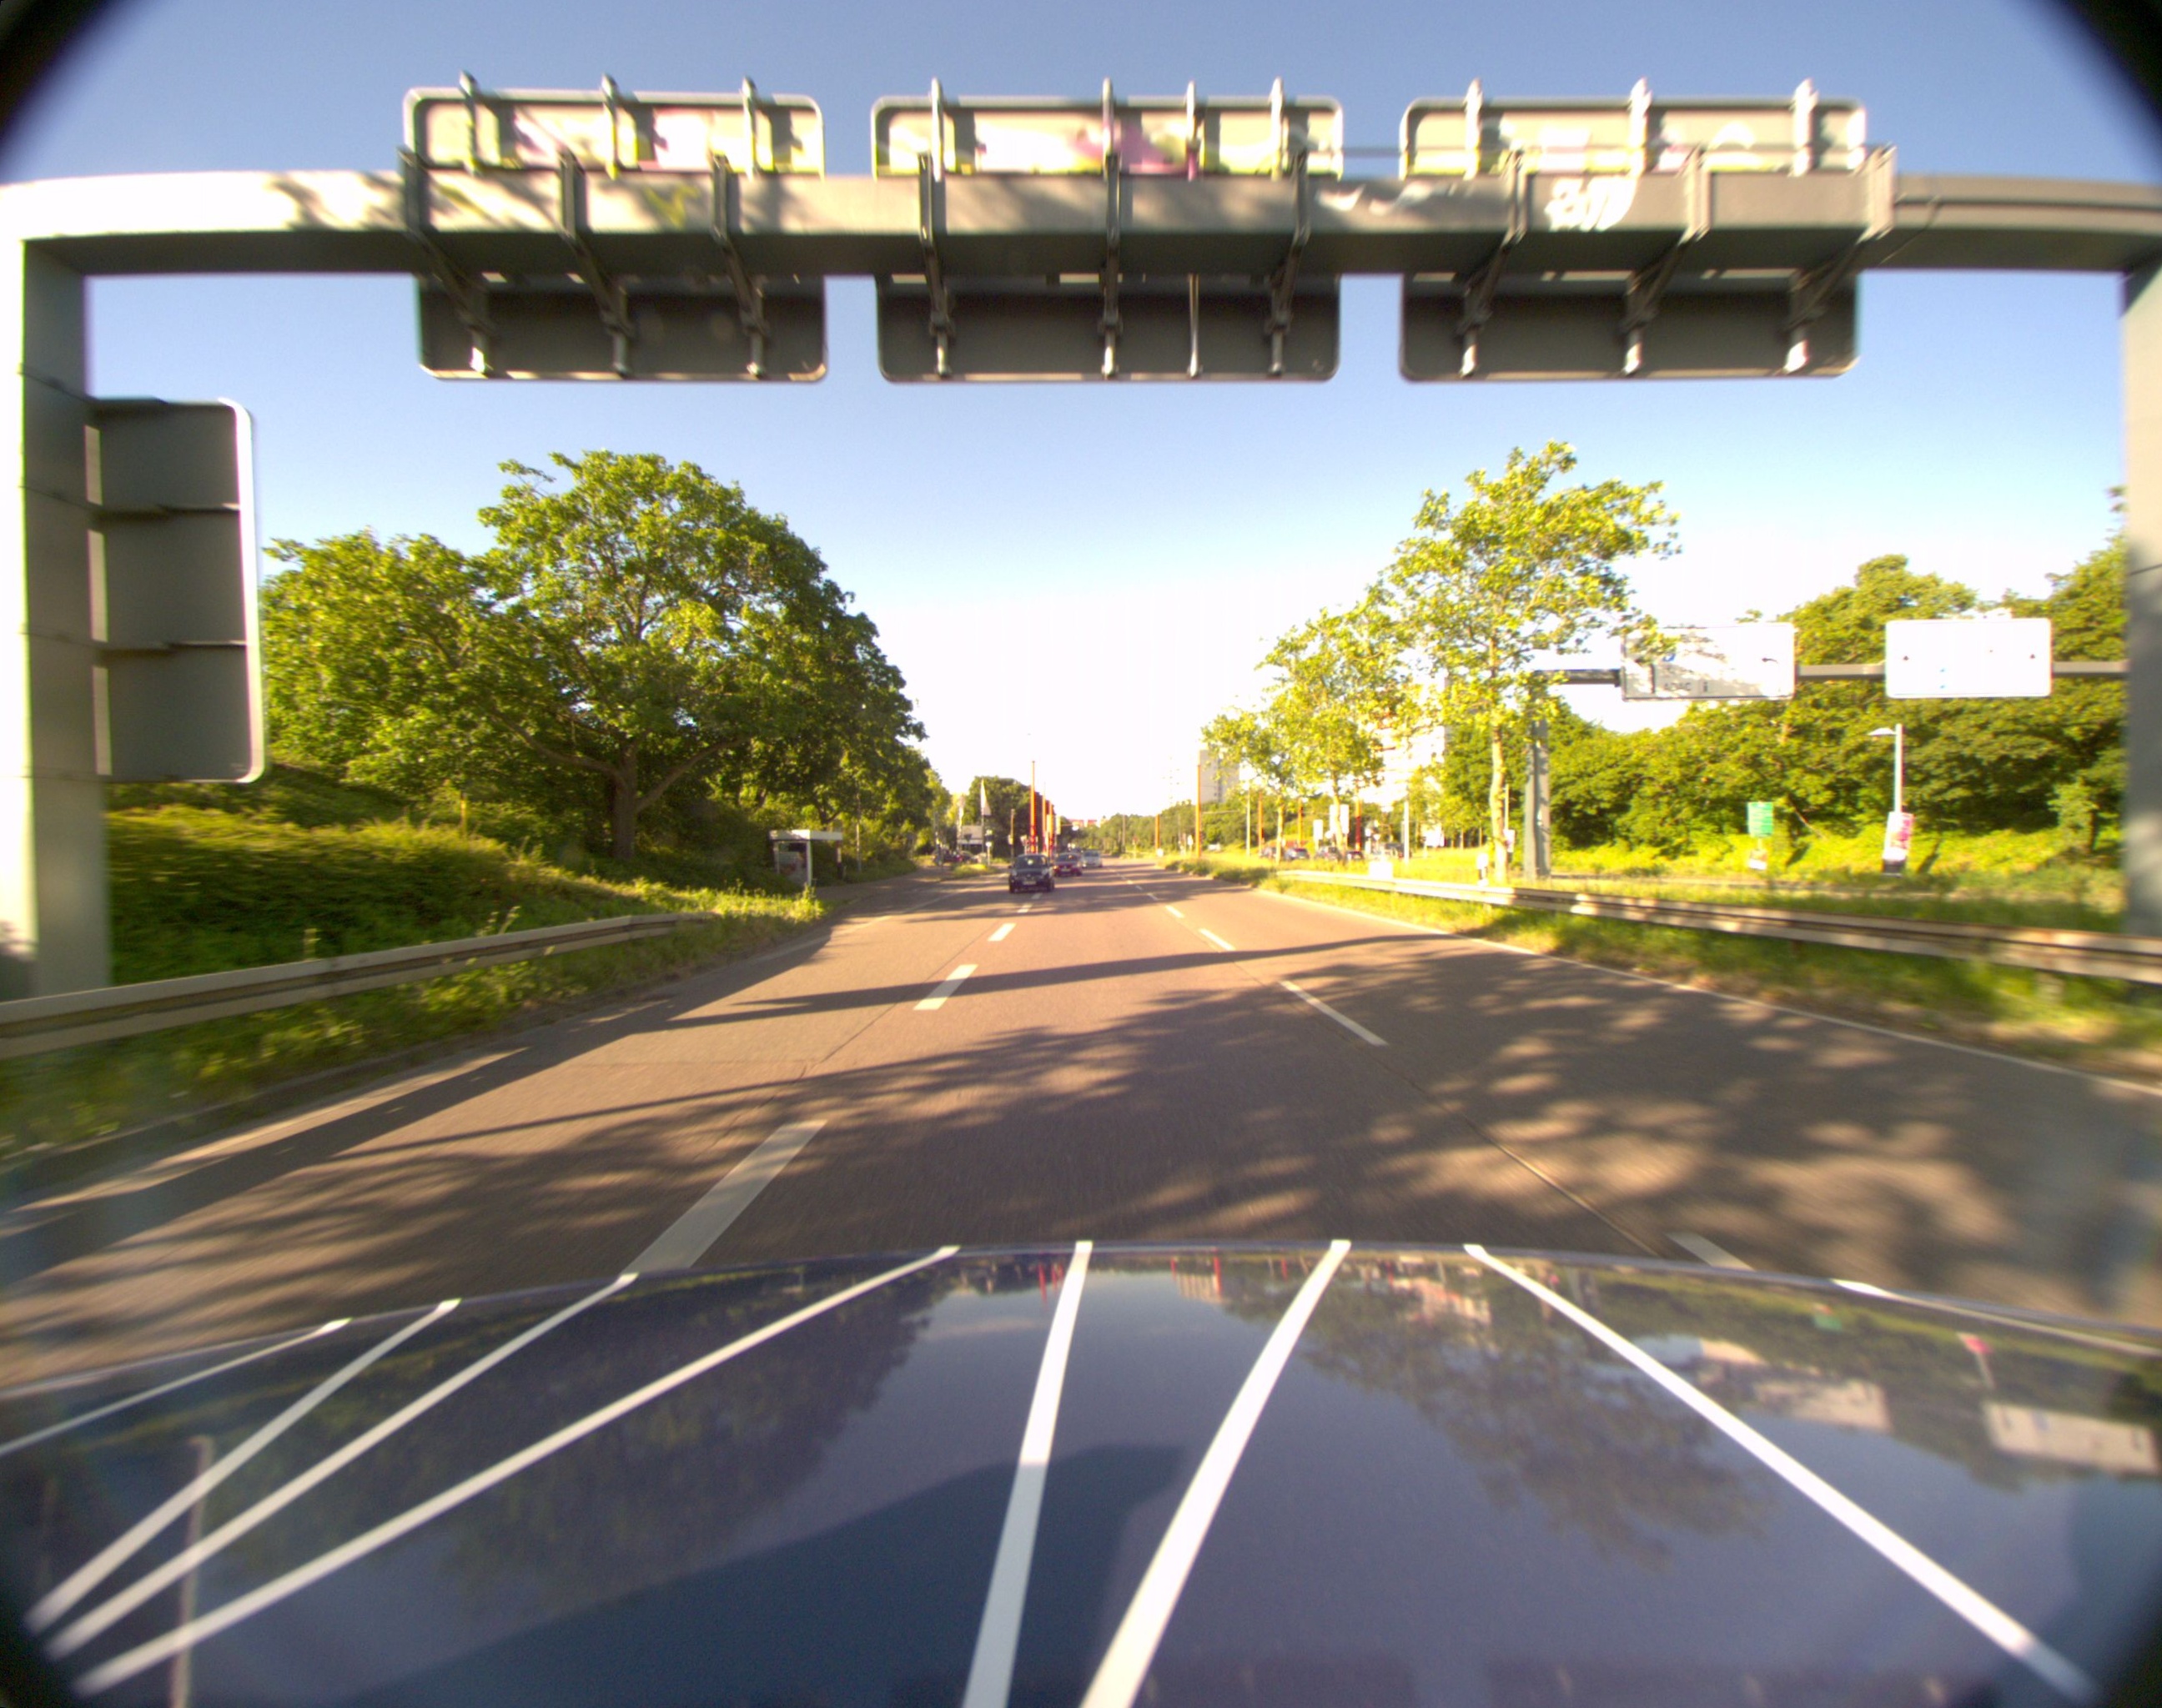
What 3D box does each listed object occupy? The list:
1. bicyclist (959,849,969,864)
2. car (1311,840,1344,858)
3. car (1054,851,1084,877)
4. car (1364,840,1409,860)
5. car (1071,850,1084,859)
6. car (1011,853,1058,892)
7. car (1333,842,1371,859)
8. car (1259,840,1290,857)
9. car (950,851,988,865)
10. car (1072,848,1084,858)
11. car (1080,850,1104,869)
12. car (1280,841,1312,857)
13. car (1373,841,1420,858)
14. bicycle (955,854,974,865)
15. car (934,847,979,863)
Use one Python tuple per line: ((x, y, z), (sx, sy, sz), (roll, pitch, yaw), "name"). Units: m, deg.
((-12.258, 0.240, 79.394), (0.981, 1.548, 0.760), (0, 1, -11), "bicyclist")
((25.301, -0.528, 77.998), (1.903, 1.765, 4.446), (1, 0, 0), "car")
((-0.753, 0.616, 48.433), (1.772, 1.549, 4.726), (-1, 0, 0), "car")
((25.742, -0.312, 64.218), (1.903, 1.601, 4.565), (1, 0, 0), "car")
((-0.611, 0.043, 126.760), (1.999, 1.486, 4.287), (0, 0, -4), "car")
((-1.851, 0.713, 31.422), (1.739, 1.474, 4.621), (0, 0, -1), "car")
((25.433, -0.308, 71.340), (1.903, 1.466, 4.565), (1, 0, 0), "car")
((18.735, -0.502, 73.749), (1.903, 1.556, 4.565), (1, 0, 0), "car")
((-12.746, 0.451, 86.564), (4.094, 1.529, 1.770), (-1, 0, -18), "car")
((-0.520, -0.203, 134.029), (1.998, 1.722, 4.818), (0, 0, 0), "car")
((0.955, 0.473, 65.540), (1.913, 1.549, 4.726), (-1, 0, 1), "car")
((21.694, -0.502, 76.898), (1.903, 1.601, 4.565), (1, 0, 0), "car")
((42.145, -0.611, 101.590), (5.662, 2.191, 2.039), (-1, 1, -11), "car")
((-12.178, 0.581, 79.414), (2.015, 1.085, 0.765), (0, 1, -11), "bicycle")
((-13.532, 0.099, 82.528), (4.657, 1.716, 1.905), (-1, 0, -18), "car")
